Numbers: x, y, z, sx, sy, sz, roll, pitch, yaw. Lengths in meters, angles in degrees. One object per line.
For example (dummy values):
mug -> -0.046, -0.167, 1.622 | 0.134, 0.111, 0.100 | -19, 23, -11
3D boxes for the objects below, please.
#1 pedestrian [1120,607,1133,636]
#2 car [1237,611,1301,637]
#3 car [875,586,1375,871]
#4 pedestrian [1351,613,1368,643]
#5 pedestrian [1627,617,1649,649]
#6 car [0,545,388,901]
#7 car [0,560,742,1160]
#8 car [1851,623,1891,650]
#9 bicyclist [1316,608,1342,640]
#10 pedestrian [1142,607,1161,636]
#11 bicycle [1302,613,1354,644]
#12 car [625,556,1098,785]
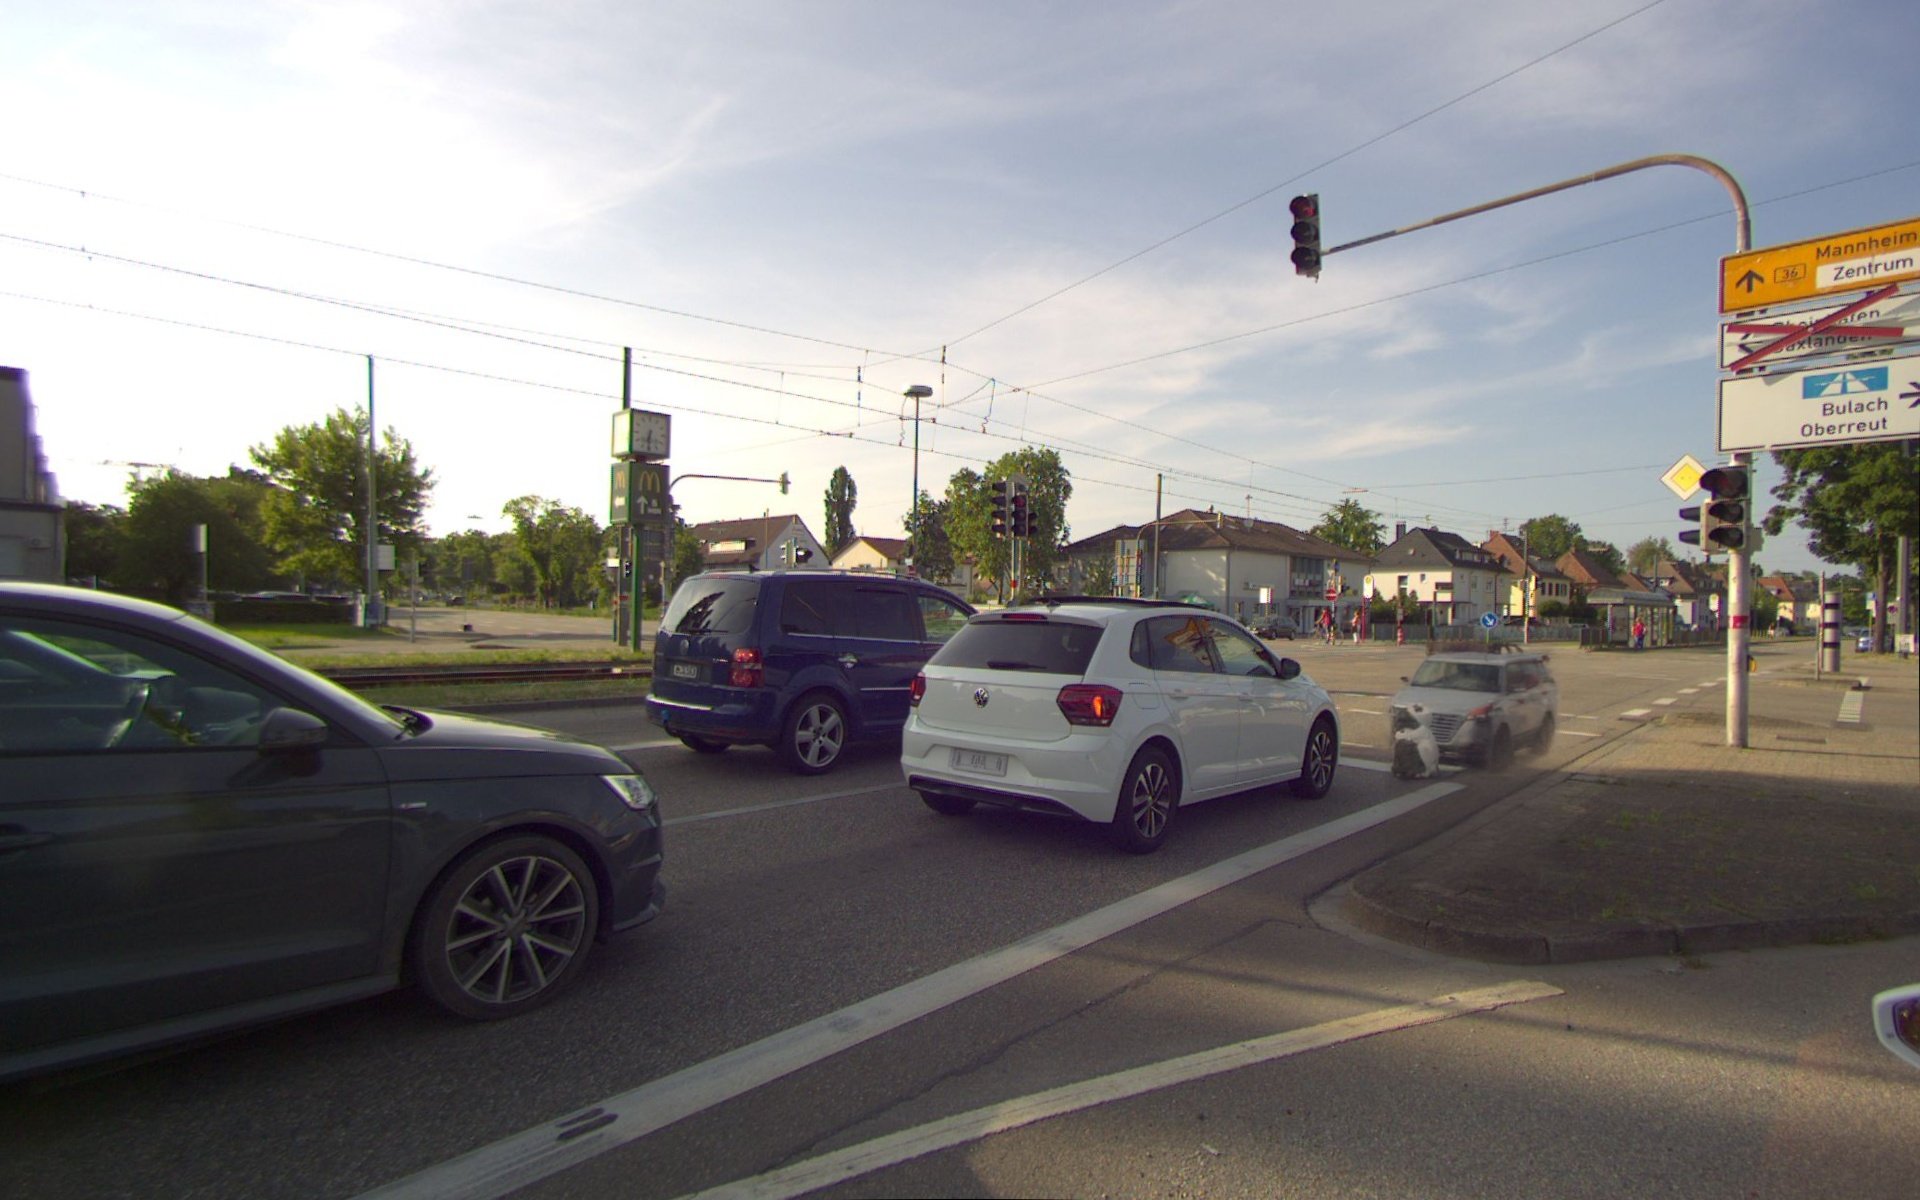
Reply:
pedestrian -> 9.327, 1.201, 56.269 | 0.506, 1.620, 0.536 | 1, 0, 43
car -> 19.082, 1.465, 61.911 | 1.971, 1.528, 4.583 | 1, 0, 42
car -> 1.411, 0.690, 7.195 | 1.638, 1.462, 3.992 | 1, -1, 42
pedestrian -> 19.809, 1.404, 49.818 | 0.543, 1.450, 0.572 | 2, 0, -43
pedestrian -> 33.800, 1.638, 50.077 | 0.822, 1.519, 0.745 | 2, 0, -44
car -> -5.238, 0.499, 4.333 | 1.681, 1.528, 4.527 | 2, 0, 43
car -> -2.732, 0.614, 3.060 | 1.624, 1.416, 3.805 | 0, -1, 43
car -> 53.584, 2.165, 59.061 | 1.657, 1.416, 3.977 | 3, 0, 43
bicyclist -> 17.539, 1.153, 47.746 | 0.872, 1.450, 1.133 | 3, 0, 34
pedestrian -> 10.928, 1.221, 57.247 | 0.807, 1.620, 0.740 | 1, 0, -44
bicycle -> 17.498, 1.343, 47.781 | 2.046, 1.365, 1.105 | 3, 0, 34
car -> -0.653, 0.555, 9.604 | 1.490, 1.673, 4.717 | 0, -1, 42
